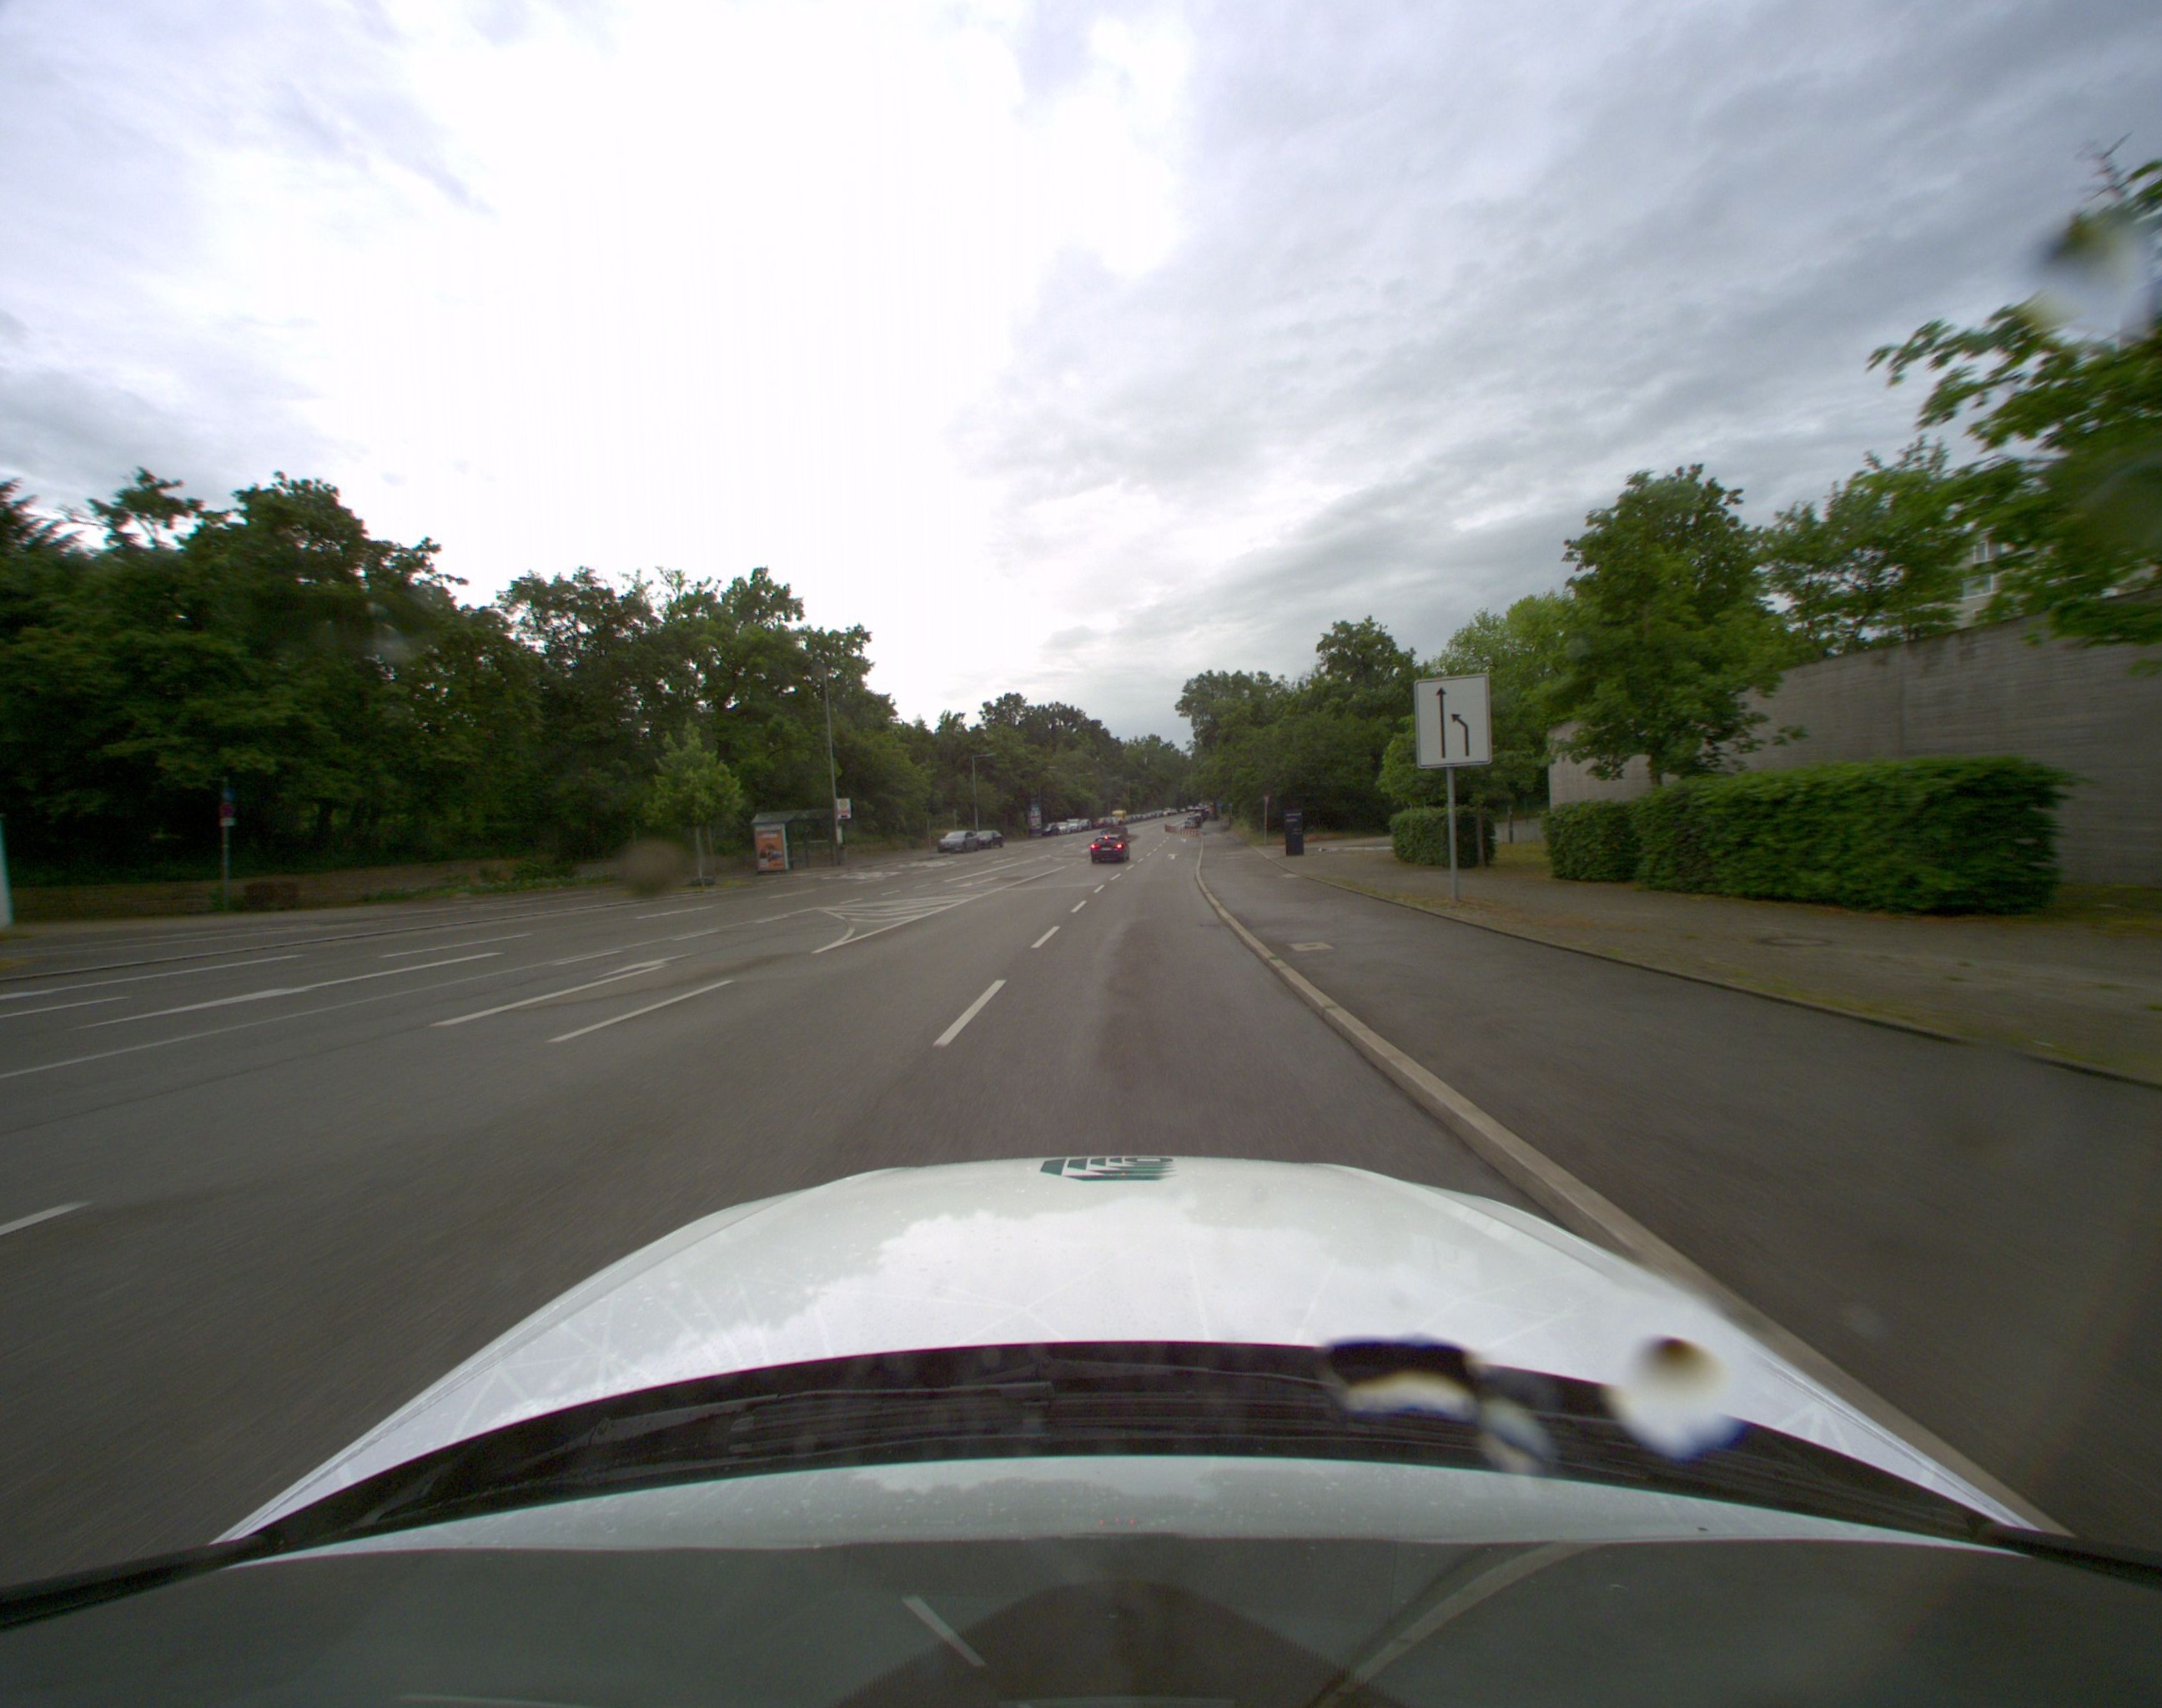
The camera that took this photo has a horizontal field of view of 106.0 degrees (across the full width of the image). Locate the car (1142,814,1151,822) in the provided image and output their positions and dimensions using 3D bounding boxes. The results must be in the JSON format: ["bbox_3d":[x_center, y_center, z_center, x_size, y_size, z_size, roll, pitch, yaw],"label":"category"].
[{"bbox_3d":[13.843,-7.729,172.938,1.451,1.570,2.994,-2,3,11],"label":"car"}]

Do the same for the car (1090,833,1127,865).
[{"bbox_3d":[1.489,-0.316,43.304,1.873,1.465,4.004,-1,4,2],"label":"car"}]

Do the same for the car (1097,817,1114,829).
[{"bbox_3d":[3.823,-4.900,127.957,1.981,1.699,4.630,-2,3,10],"label":"car"}]

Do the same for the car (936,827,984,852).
[{"bbox_3d":[-8.667,-1.059,58.611,1.829,1.589,4.945,-1,3,11],"label":"car"}]

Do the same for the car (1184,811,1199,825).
[{"bbox_3d":[13.409,-4.408,98.880,1.812,1.614,4.262,-2,3,7],"label":"car"}]

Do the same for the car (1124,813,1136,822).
[{"bbox_3d":[9.035,-6.738,150.924,1.591,1.509,3.151,-2,4,13],"label":"car"}]

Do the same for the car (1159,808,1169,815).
[{"bbox_3d":[20.613,-10.495,201.889,1.980,1.488,4.485,-2,3,12],"label":"car"}]

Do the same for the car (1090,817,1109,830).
[{"bbox_3d":[2.839,-4.637,123.385,1.906,1.616,4.507,-3,3,12],"label":"car"}]

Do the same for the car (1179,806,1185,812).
[{"bbox_3d":[31.997,-14.211,257.260,1.661,1.513,3.643,-1,4,11],"label":"car"}]

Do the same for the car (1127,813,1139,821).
[{"bbox_3d":[10.021,-7.103,156.189,1.591,1.509,3.992,-2,4,13],"label":"car"}]

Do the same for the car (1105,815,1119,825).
[{"bbox_3d":[5.058,-5.520,133.365,1.606,1.448,3.671,-3,3,12],"label":"car"}]

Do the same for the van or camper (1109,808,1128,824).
[{"bbox_3d":[6.494,-6.546,140.370,2.129,2.626,5.704,-2,3,13],"label":"van or camper"}]

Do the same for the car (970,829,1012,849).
[{"bbox_3d":[-7.091,-1.251,64.675,1.894,1.414,4.799,-1,3,11],"label":"car"}]

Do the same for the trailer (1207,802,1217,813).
[{"bbox_3d":[30.984,-11.028,192.888,2.119,2.559,4.311,-2,3,10],"label":"trailer"}]

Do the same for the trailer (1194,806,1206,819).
[{"bbox_3d":[21.557,-7.543,147.240,1.893,2.247,4.785,-2,4,11],"label":"trailer"}]

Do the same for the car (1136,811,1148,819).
[{"bbox_3d":[12.358,-7.946,165.306,1.857,1.303,4.486,-2,3,12],"label":"car"}]

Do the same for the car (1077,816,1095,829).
[{"bbox_3d":[0.734,-4.351,111.896,1.721,1.648,4.584,-2,3,9],"label":"car"}]

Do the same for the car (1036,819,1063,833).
[{"bbox_3d":[-3.574,-3.205,93.031,1.736,1.444,4.606,-1,3,14],"label":"car"}]

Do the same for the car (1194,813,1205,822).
[{"bbox_3d":[20.426,-6.237,140.444,1.811,1.485,4.212,-1,3,9],"label":"car"}]

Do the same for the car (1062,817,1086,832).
[{"bbox_3d":[-0.882,-3.778,104.854,1.980,1.765,4.977,-2,3,11],"label":"car"}]

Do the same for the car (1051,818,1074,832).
[{"bbox_3d":[-2.198,-3.529,98.982,1.707,1.459,4.725,-2,3,12],"label":"car"}]
